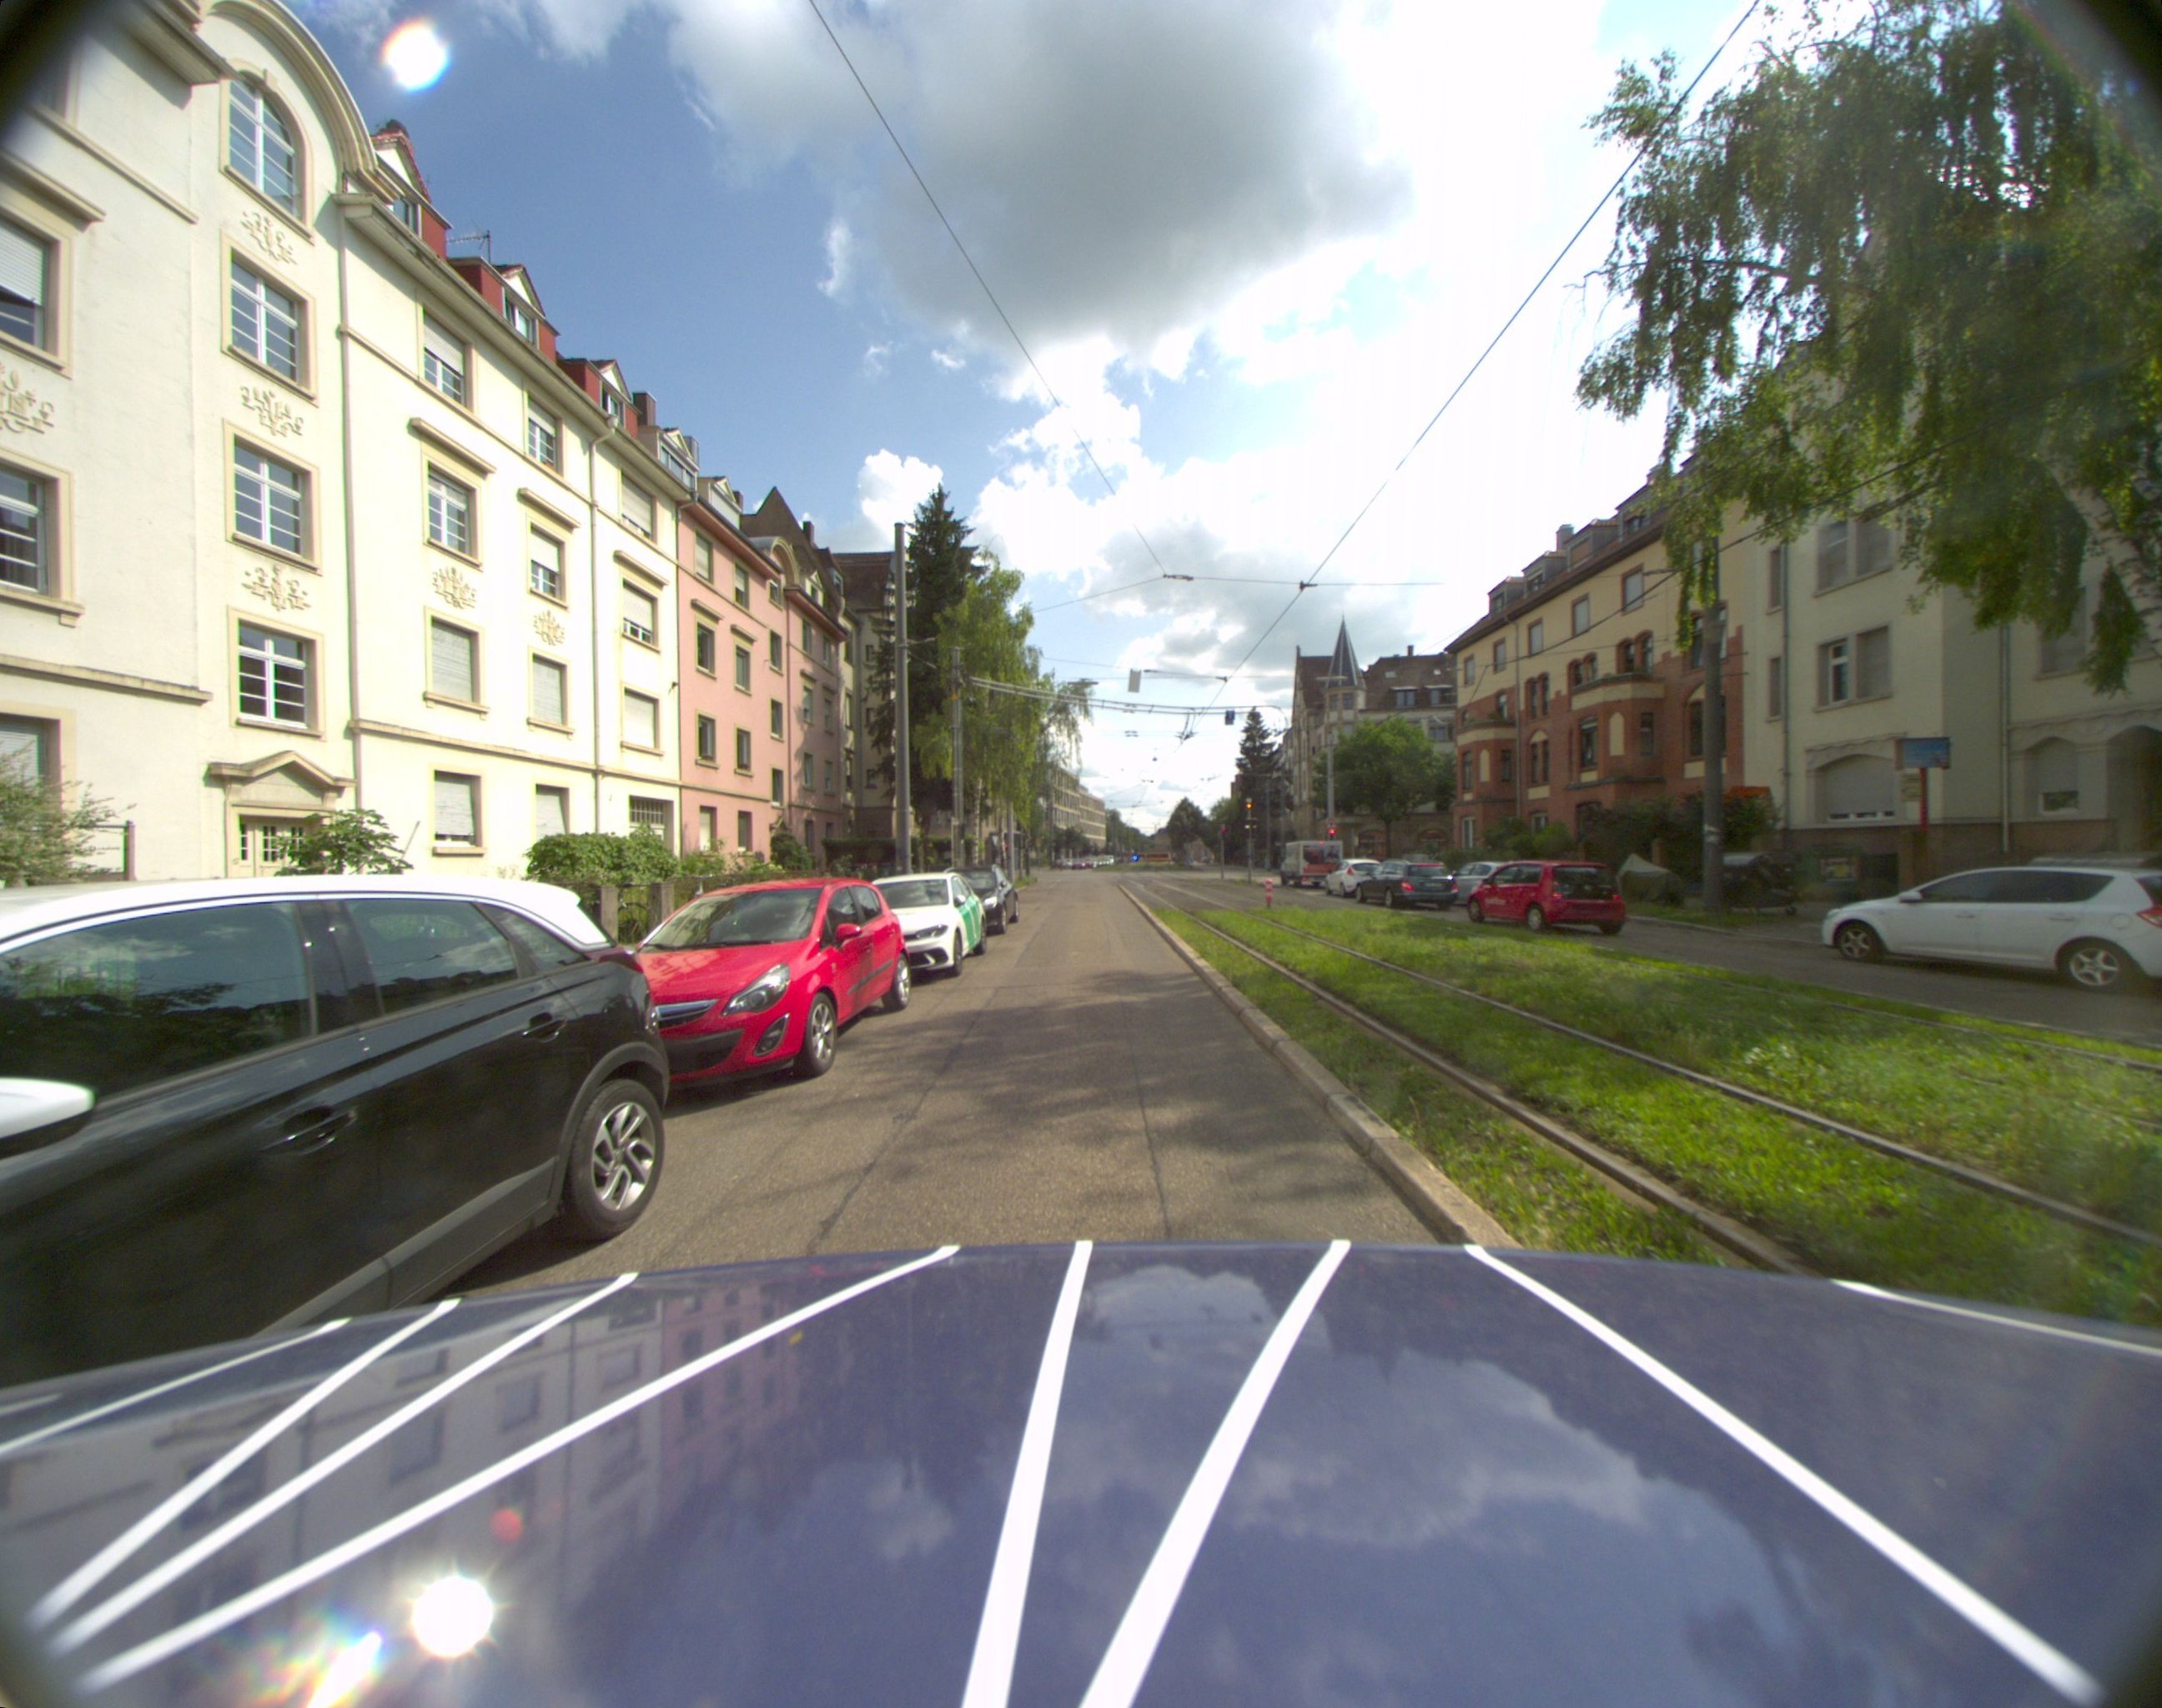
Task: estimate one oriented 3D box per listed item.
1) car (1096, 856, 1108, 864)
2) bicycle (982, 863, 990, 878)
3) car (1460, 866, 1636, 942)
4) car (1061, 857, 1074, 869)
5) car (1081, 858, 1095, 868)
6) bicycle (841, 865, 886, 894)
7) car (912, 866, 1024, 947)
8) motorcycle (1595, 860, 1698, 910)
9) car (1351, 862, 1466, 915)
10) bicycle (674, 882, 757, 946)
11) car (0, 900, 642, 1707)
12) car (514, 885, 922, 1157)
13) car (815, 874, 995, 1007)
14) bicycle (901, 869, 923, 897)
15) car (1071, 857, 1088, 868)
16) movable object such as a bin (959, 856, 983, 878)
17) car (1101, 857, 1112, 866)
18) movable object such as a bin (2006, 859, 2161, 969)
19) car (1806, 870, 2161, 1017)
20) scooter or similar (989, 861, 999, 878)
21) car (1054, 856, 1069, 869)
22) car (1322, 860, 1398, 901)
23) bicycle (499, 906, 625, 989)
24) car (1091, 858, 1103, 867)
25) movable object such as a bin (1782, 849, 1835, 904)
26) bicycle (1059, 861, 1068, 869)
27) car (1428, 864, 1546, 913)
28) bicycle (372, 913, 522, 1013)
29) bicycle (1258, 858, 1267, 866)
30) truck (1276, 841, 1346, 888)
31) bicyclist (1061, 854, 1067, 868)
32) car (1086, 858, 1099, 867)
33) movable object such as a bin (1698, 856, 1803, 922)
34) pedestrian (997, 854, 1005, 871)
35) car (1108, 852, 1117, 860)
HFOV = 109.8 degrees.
[{"bbox_3d":[3.521,0.939,126.470,1.619,1.265,4.001,-2,0,5],"label":"car"},{"bbox_3d":[-6.817,1.201,54.700,0.350,1.016,1.481,2,0,0],"label":"bicycle"},{"bbox_3d":[9.785,0.979,16.271,1.582,1.378,3.693,0,0,2],"label":"car"},{"bbox_3d":[-2.024,1.309,114.488,1.835,1.674,4.000,-1,0,1],"label":"car"},{"bbox_3d":[1.005,1.289,104.763,1.619,1.265,4.001,-2,0,5],"label":"car"},{"bbox_3d":[-9.398,1.101,32.832,1.777,1.213,0.421,-1,0,0],"label":"bicycle"},{"bbox_3d":[-2.493,1.109,17.876,1.796,1.512,4.526,-3,0,1],"label":"car"},{"bbox_3d":[15.007,0.800,20.265,0.903,1.235,2.294,-1,0,-5],"label":"motorcycle"},{"bbox_3d":[9.930,0.983,23.411,1.759,1.348,4.513,1,0,3],"label":"car"},{"bbox_3d":[-7.122,1.133,14.910,0.472,1.071,2.183,0,0,3],"label":"bicycle"},{"bbox_3d":[-2.747,1.027,1.501,1.497,1.570,3.759,-3,0,0],"label":"car"},{"bbox_3d":[-2.701,1.139,6.727,1.593,1.444,3.844,-4,0,1],"label":"car"},{"bbox_3d":[-2.435,1.136,11.505,1.623,1.444,3.918,-4,0,1],"label":"car"},{"bbox_3d":[-6.856,1.166,30.865,0.420,1.046,1.779,0,0,2],"label":"bicycle"},{"bbox_3d":[-0.147,1.054,96.538,1.740,1.313,4.001,-3,0,5],"label":"car"},{"bbox_3d":[-7.780,0.913,53.809,1.305,1.483,2.000,0,0,2],"label":"movable object such as a bin"},{"bbox_3d":[4.424,1.254,132.537,1.738,1.570,4.001,0,0,5],"label":"car"},{"bbox_3d":[14.762,0.816,10.949,0.953,1.421,1.522,-3,0,1],"label":"movable object such as a bin"},{"bbox_3d":[12.331,1.002,9.975,1.648,1.469,4.226,1,0,2],"label":"car"},{"bbox_3d":[-6.392,1.130,55.692,0.521,1.172,1.188,2,0,2],"label":"scooter or similar"},{"bbox_3d":[-2.794,1.191,107.060,1.999,1.730,4.000,-1,0,0],"label":"car"},{"bbox_3d":[10.689,0.969,29.427,1.758,1.406,4.135,1,0,6],"label":"car"},{"bbox_3d":[-7.290,1.274,10.789,0.378,0.938,2.009,-1,0,1],"label":"bicycle"},{"bbox_3d":[2.574,1.286,119.807,1.619,1.265,4.001,-2,0,5],"label":"car"},{"bbox_3d":[18.375,0.559,19.198,0.674,1.354,0.699,-1,0,-2],"label":"movable object such as a bin"},{"bbox_3d":[-2.064,1.305,90.170,0.771,0.885,1.893,-1,0,7],"label":"bicycle"},{"bbox_3d":[12.621,1.020,23.924,1.759,1.348,3.995,0,0,3],"label":"car"},{"bbox_3d":[-7.293,1.220,8.835,0.388,0.933,1.585,-1,0,1],"label":"bicycle"},{"bbox_3d":[20.973,0.922,87.859,0.625,0.966,2.336,-1,0,5],"label":"bicycle"},{"bbox_3d":[11.738,0.511,39.278,2.189,2.201,6.615,0,0,6],"label":"truck"},{"bbox_3d":[-2.043,0.878,90.394,0.665,1.679,0.857,0,0,7],"label":"bicyclist"},{"bbox_3d":[1.722,1.211,111.495,1.619,1.265,4.001,-2,0,5],"label":"car"},{"bbox_3d":[15.247,0.776,17.375,0.953,1.359,1.522,-6,0,1],"label":"movable object such as a bin"},{"bbox_3d":[-8.736,0.944,82.726,0.737,1.832,0.806,-1,1,-14],"label":"pedestrian"},{"bbox_3d":[6.107,0.395,147.572,1.645,1.610,3.714,-1,0,5],"label":"car"}]
